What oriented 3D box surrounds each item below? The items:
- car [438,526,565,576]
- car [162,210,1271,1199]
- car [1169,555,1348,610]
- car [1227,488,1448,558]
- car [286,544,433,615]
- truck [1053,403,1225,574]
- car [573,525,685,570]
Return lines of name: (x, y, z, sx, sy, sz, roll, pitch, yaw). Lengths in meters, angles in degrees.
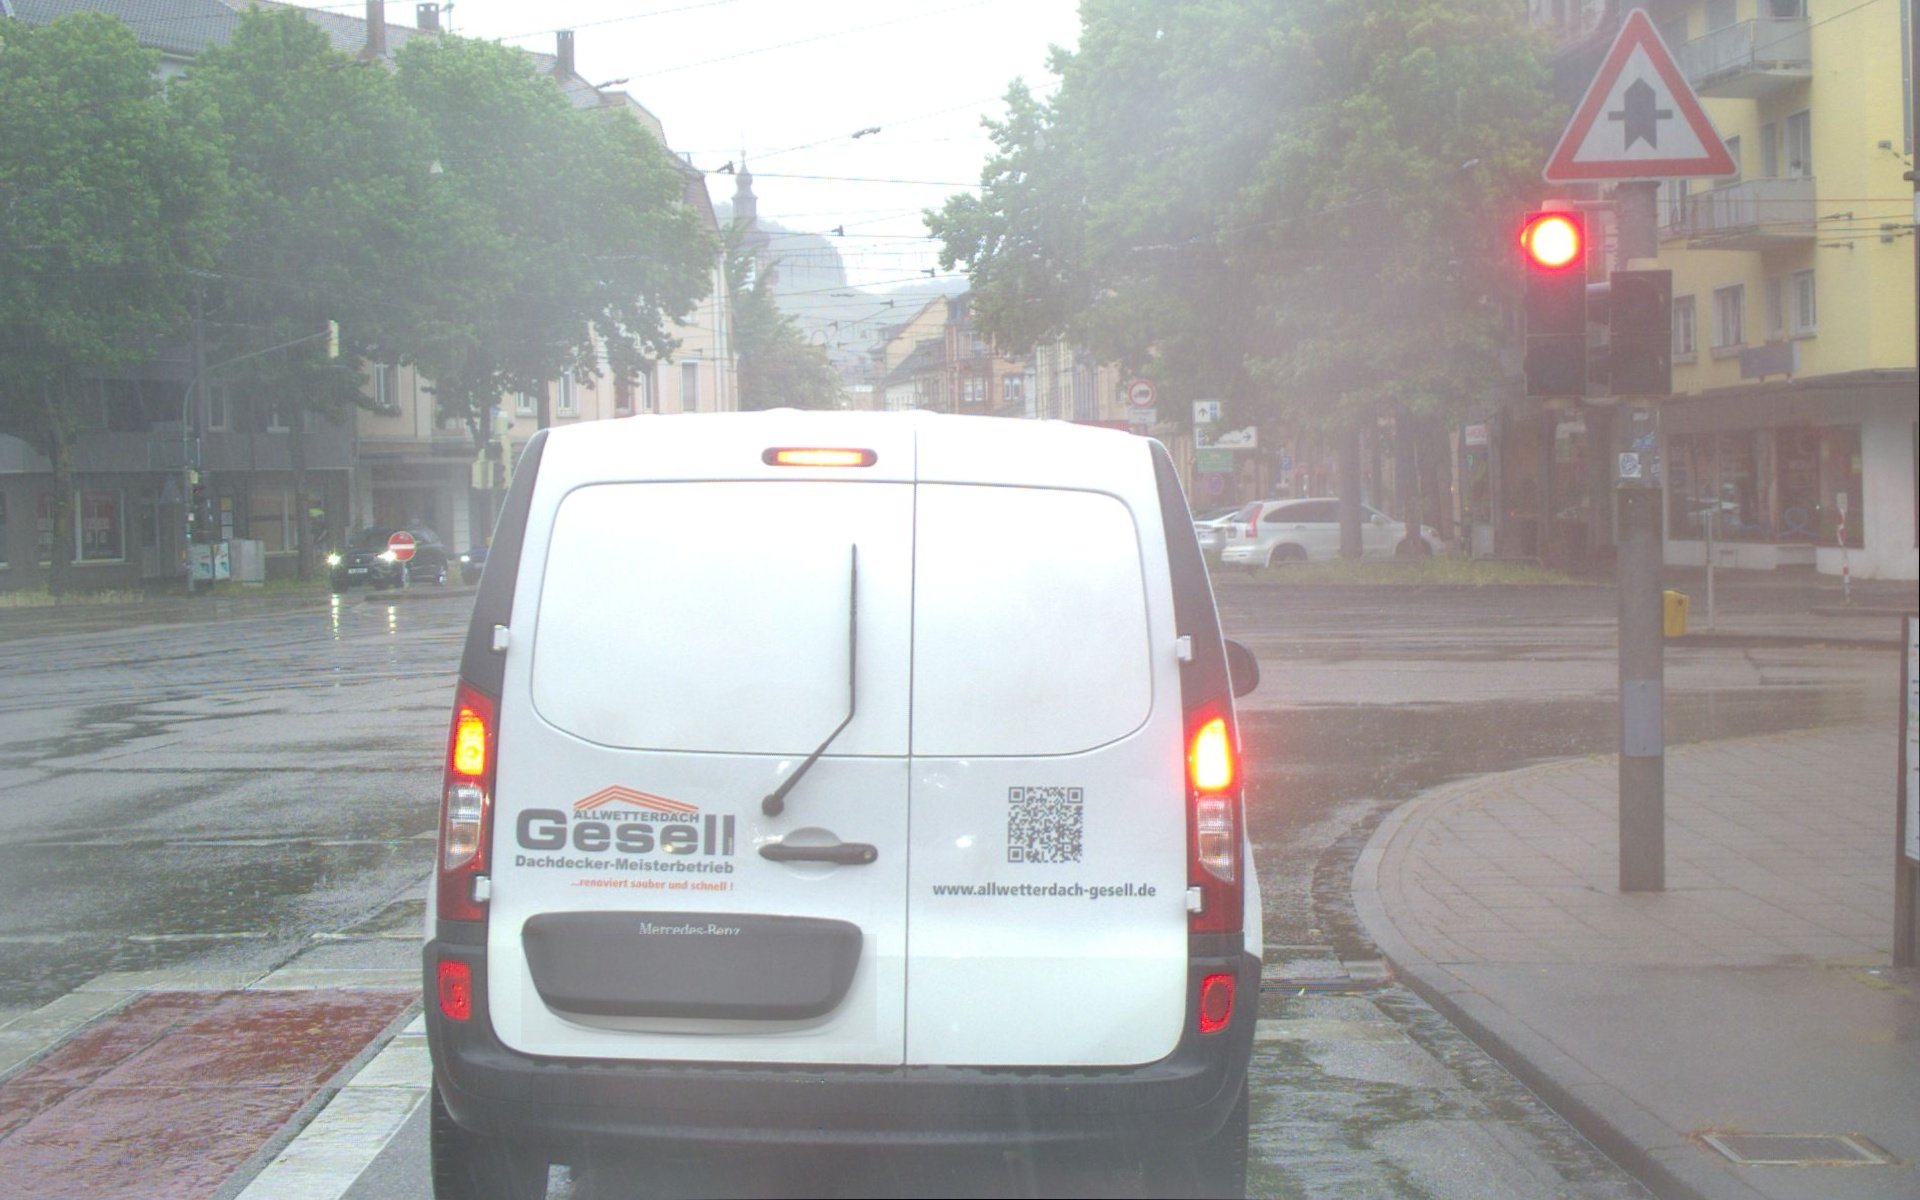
car: (-12.419, -1.355, 93.408, 1.952, 1.235, 3.997, 0, 3, 16)
car: (-0.489, 0.233, 9.032, 2.100, 2.005, 4.963, 0, 1, -1)
car: (6.153, -0.365, 71.065, 3.441, 1.126, 1.472, 0, 1, -8)
car: (7.549, -1.549, 68.930, 4.165, 1.334, 1.521, -1, 2, -7)
car: (-14.663, -0.523, 84.150, 1.952, 1.602, 3.997, 0, 3, 16)
truck: (5.894, -3.446, 109.830, 3.471, 5.070, 15.300, 0, 1, 11)
car: (-9.861, -1.583, 102.722, 1.952, 1.235, 3.997, 0, 3, 16)
